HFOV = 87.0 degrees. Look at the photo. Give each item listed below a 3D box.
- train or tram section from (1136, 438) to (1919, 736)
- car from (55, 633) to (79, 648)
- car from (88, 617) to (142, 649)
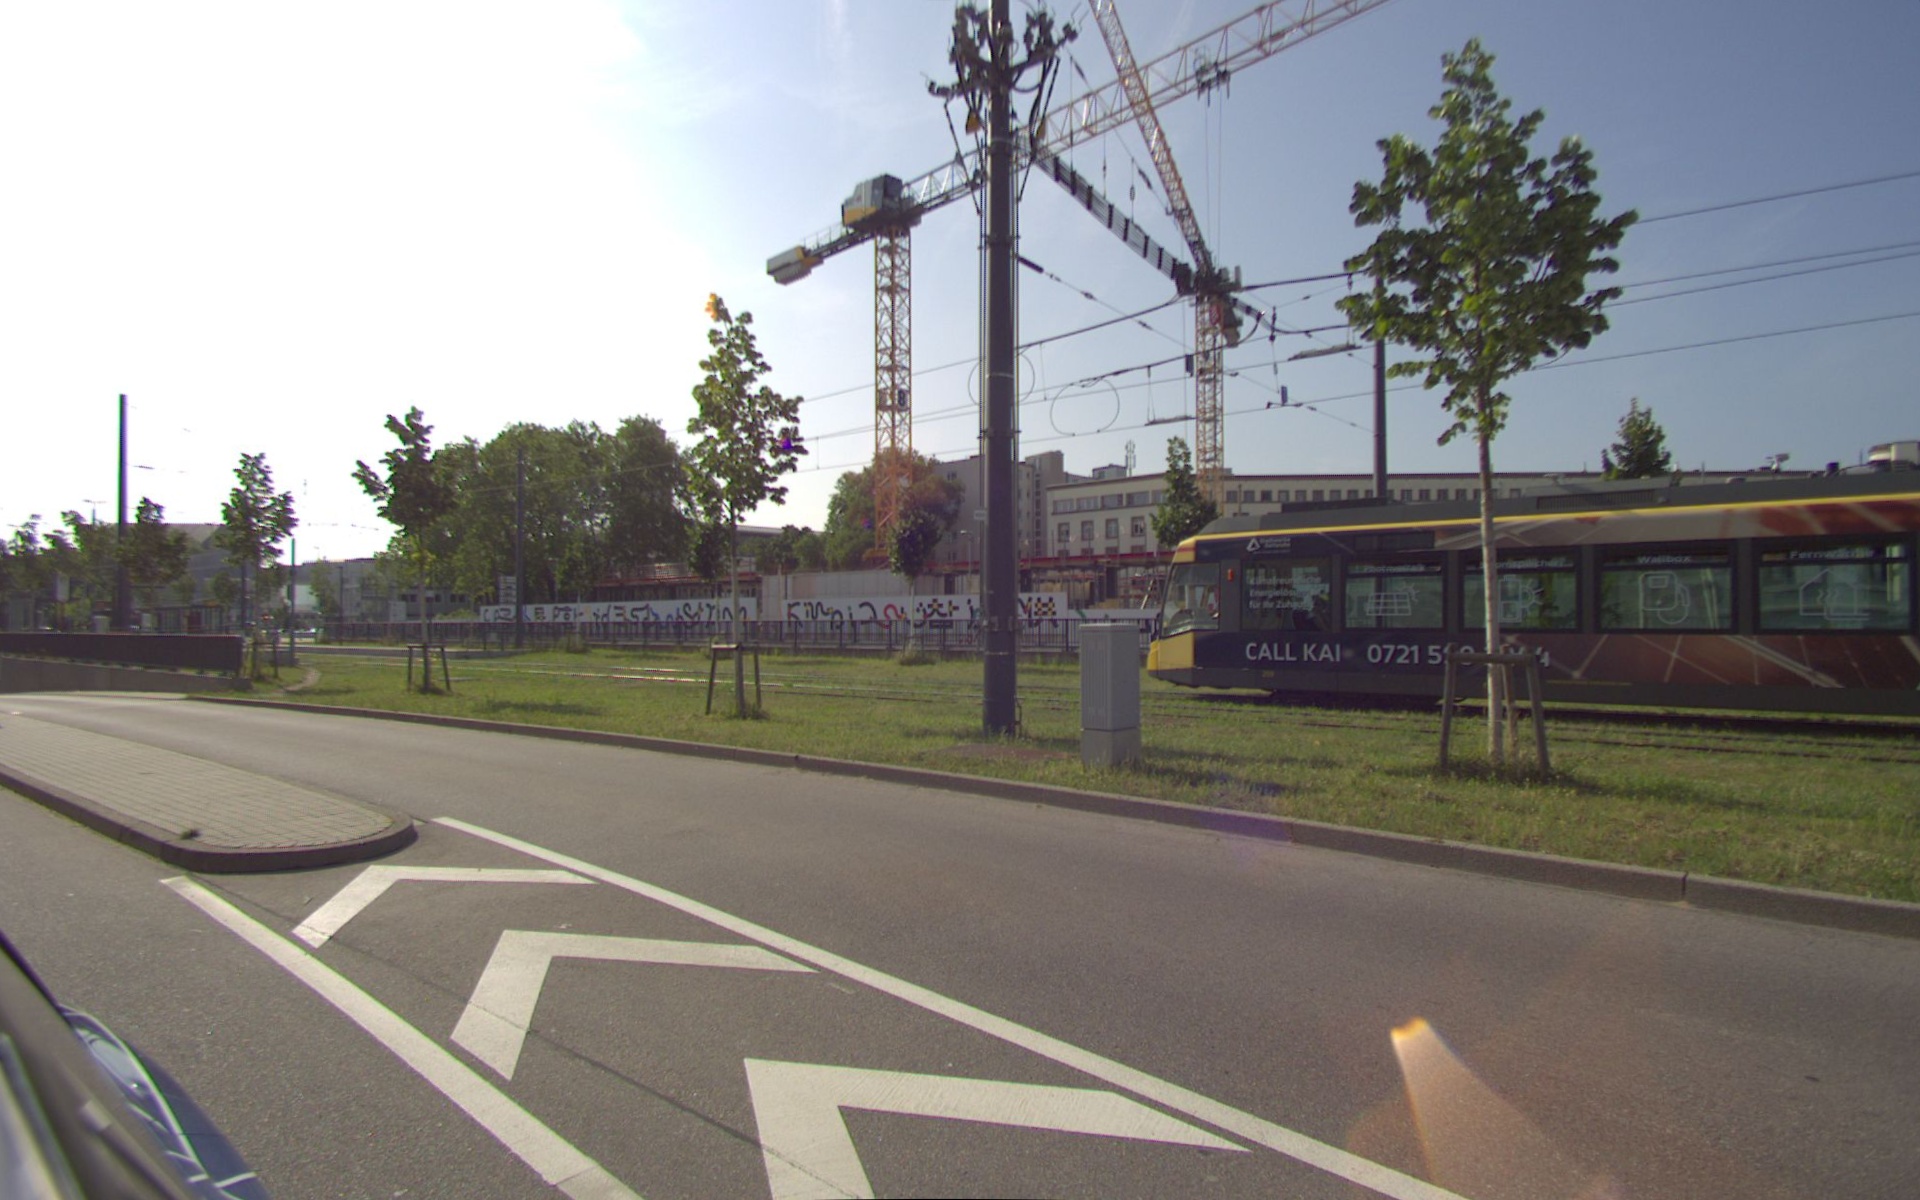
[{"bbox_3d":[9.957,-0.050,15.214,14.880,3.564,2.832,-2,-2,39],"label":"train or tram section"},{"bbox_3d":[-123.854,5.581,140.331,3.997,2.029,1.933,-2,-2,40],"label":"car"},{"bbox_3d":[-98.724,3.893,118.162,9.222,3.539,3.024,-2,-2,39],"label":"car"}]
